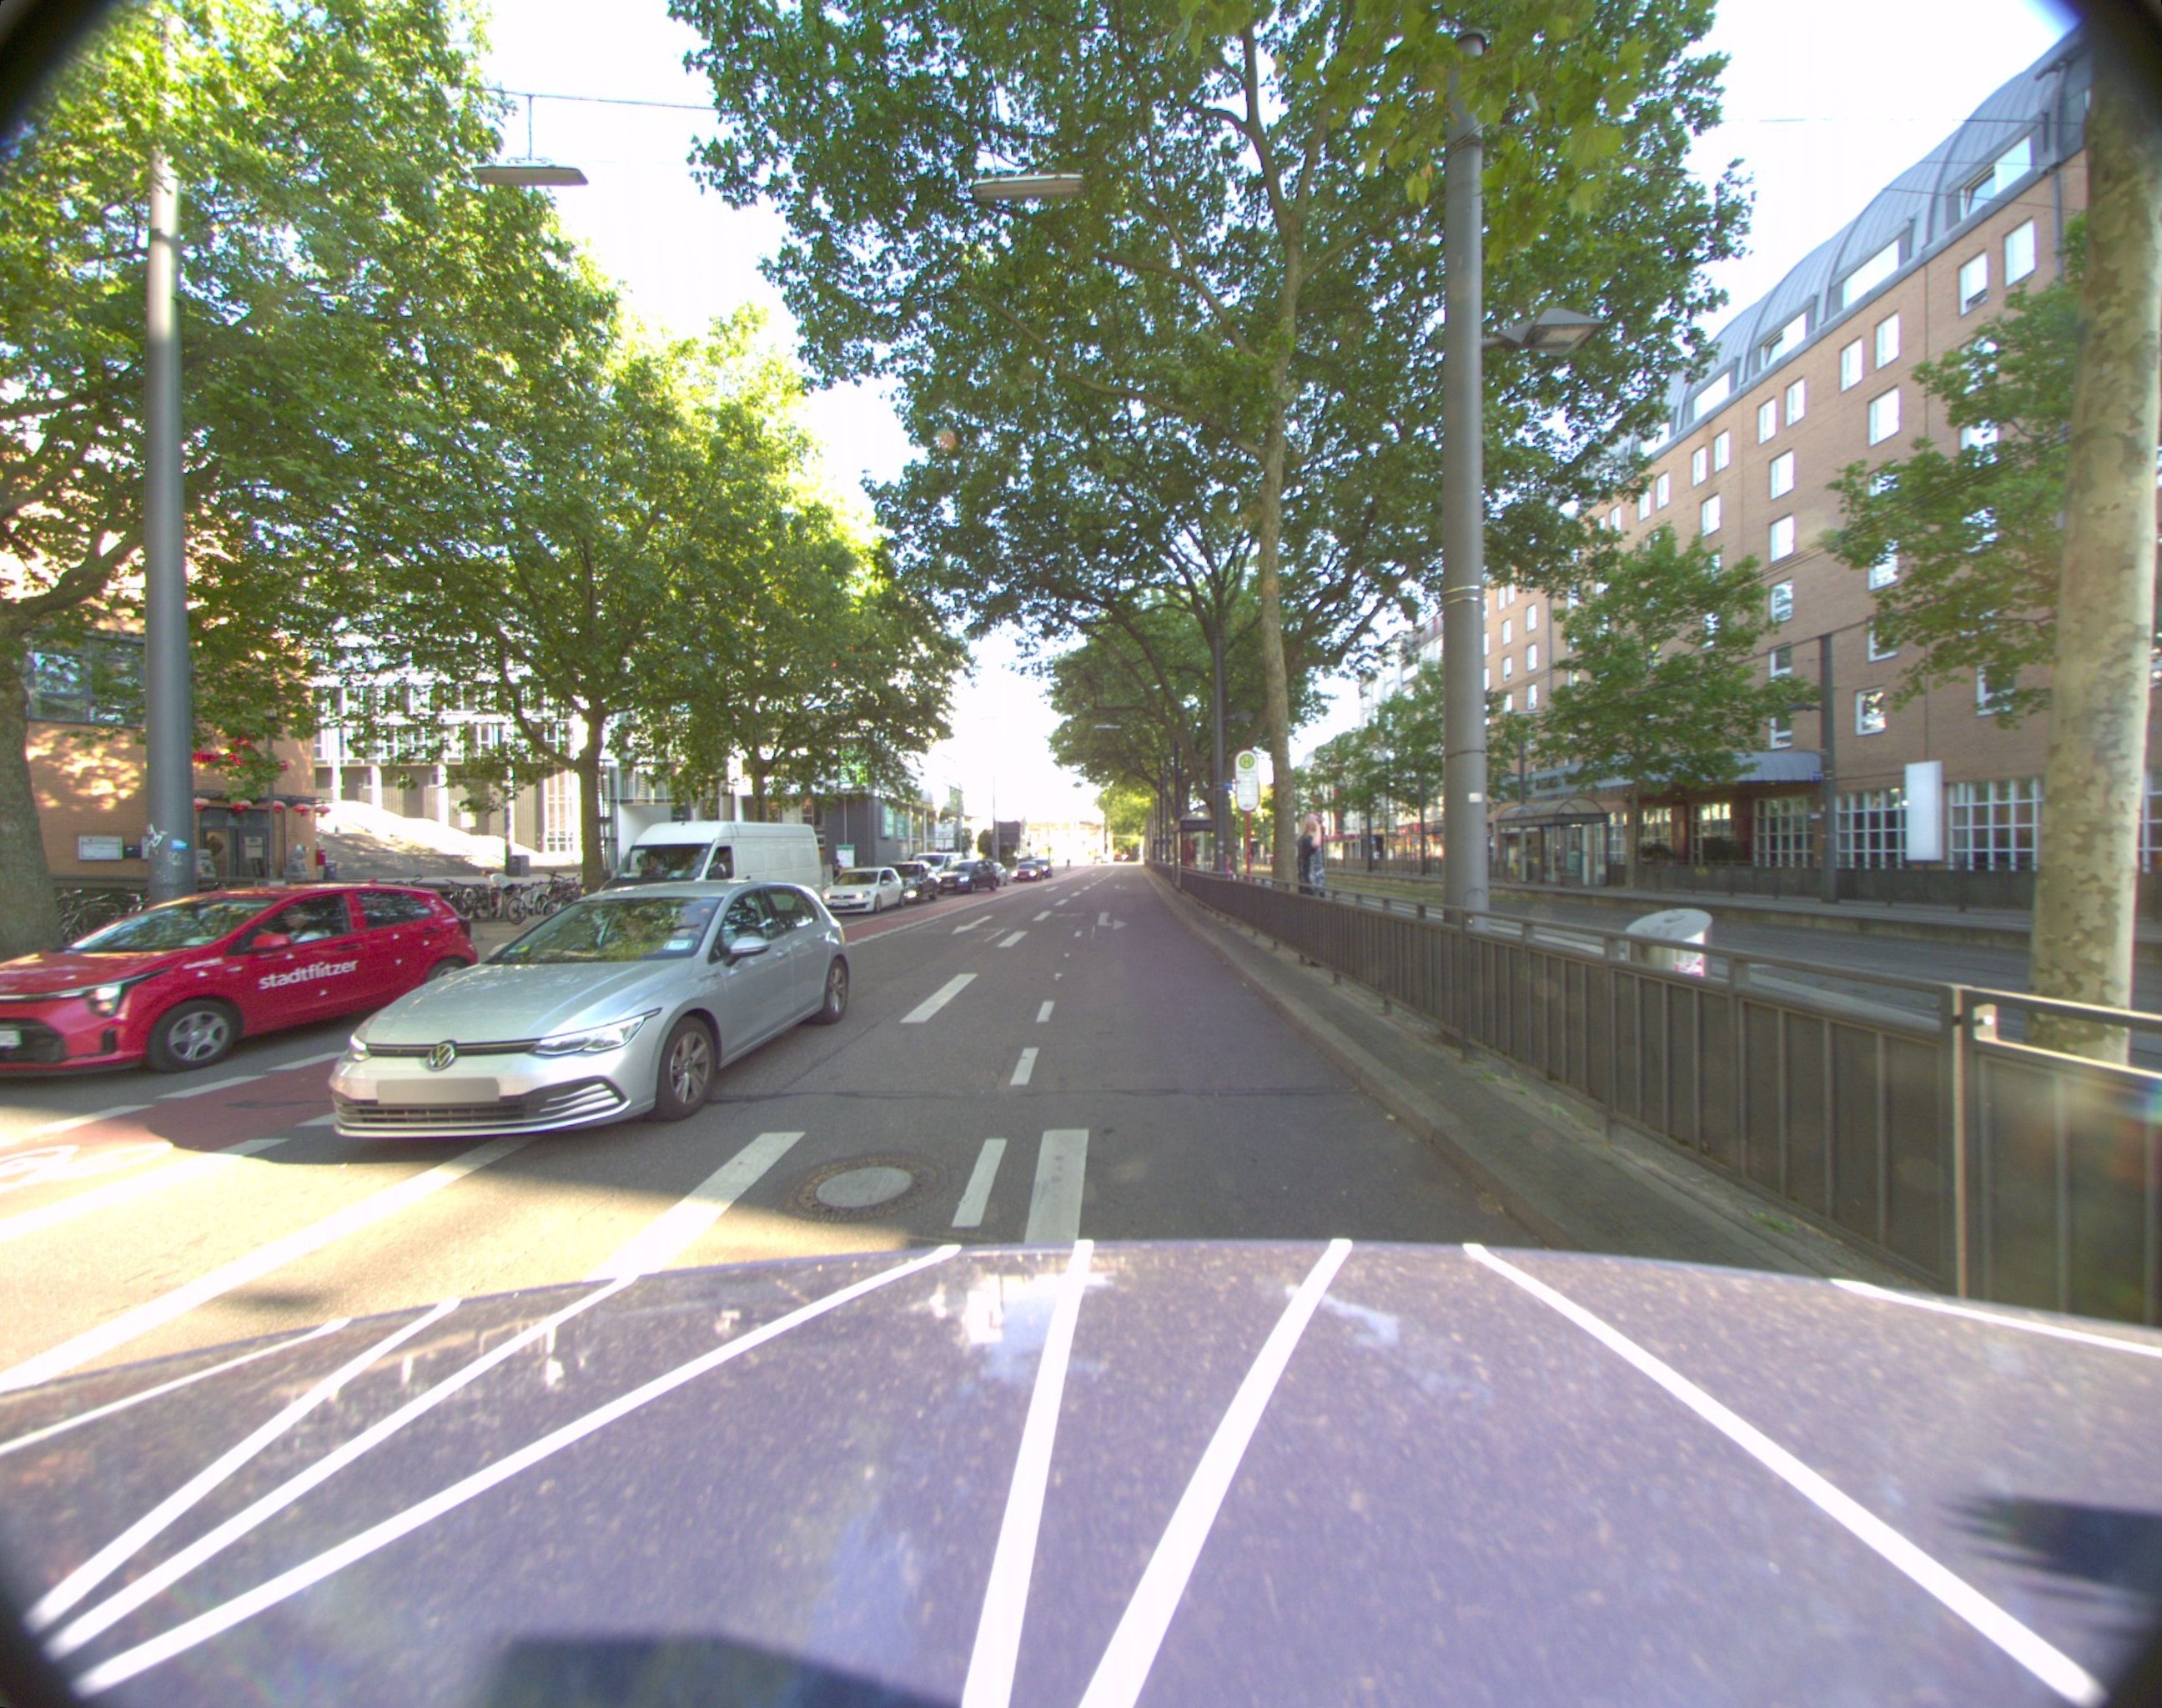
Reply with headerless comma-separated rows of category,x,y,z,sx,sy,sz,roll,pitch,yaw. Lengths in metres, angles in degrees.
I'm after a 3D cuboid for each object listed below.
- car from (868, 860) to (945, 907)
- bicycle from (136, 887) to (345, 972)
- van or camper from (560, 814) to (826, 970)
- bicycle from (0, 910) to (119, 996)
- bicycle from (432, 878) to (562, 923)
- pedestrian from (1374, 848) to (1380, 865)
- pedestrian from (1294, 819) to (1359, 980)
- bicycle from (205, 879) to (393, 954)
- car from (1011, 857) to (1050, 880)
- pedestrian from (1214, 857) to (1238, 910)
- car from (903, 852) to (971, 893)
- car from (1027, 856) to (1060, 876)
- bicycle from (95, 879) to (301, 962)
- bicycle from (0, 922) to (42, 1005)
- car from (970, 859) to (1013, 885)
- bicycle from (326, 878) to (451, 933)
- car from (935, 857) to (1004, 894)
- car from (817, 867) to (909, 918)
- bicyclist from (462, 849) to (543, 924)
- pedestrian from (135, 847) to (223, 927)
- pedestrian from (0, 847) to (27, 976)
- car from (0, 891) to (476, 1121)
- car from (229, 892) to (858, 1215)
car,-6.724,1.079,29.722,1.768,1.626,4.251,-2,0,3
bicycle,-14.060,1.214,12.853,0.751,1.155,2.398,-2,1,2
van or camper,-7.630,0.636,16.047,2.004,2.599,6.499,-1,0,3
bicycle,-14.202,1.323,9.053,1.050,0.996,3.412,-2,1,1
bicycle,-16.199,1.257,21.087,3.328,1.077,1.150,0,1,18
pedestrian,31.143,0.284,79.930,0.504,1.725,0.574,-1,1,3
pedestrian,2.888,0.521,8.959,0.543,1.823,0.524,-2,1,2
bicycle,-13.123,1.000,12.891,0.682,1.054,2.337,-1,1,2
car,-3.695,1.065,56.390,1.834,1.481,4.198,-3,0,10
pedestrian,3.743,0.757,19.620,0.542,1.310,0.524,-2,1,12
car,-7.524,0.901,40.344,1.932,1.953,5.920,-2,0,5
car,-3.139,0.996,64.339,1.784,1.481,4.198,-3,0,10
bicycle,-14.817,1.061,12.882,0.671,1.155,2.305,-2,1,3
bicycle,-13.221,1.331,7.977,0.925,0.943,2.637,-2,1,1
car,-5.588,1.096,47.896,1.835,1.481,4.197,-2,0,5
bicycle,-17.848,1.297,19.711,0.699,1.193,2.700,-2,1,1
car,-5.346,0.999,37.134,1.708,1.626,4.395,-2,0,14
car,-7.009,1.197,24.832,1.639,1.420,3.987,-2,0,3
bicyclist,-15.969,0.876,21.003,1.296,2.002,1.158,-1,1,16
pedestrian,-23.403,0.830,19.733,1.013,2.002,1.016,-2,1,12
pedestrian,-17.082,0.893,11.459,0.934,2.002,1.091,-1,1,-25
car,-7.982,1.188,7.215,1.494,1.451,3.597,-2,0,1
car,-3.262,1.096,5.755,1.752,1.410,4.001,-2,-1,3
